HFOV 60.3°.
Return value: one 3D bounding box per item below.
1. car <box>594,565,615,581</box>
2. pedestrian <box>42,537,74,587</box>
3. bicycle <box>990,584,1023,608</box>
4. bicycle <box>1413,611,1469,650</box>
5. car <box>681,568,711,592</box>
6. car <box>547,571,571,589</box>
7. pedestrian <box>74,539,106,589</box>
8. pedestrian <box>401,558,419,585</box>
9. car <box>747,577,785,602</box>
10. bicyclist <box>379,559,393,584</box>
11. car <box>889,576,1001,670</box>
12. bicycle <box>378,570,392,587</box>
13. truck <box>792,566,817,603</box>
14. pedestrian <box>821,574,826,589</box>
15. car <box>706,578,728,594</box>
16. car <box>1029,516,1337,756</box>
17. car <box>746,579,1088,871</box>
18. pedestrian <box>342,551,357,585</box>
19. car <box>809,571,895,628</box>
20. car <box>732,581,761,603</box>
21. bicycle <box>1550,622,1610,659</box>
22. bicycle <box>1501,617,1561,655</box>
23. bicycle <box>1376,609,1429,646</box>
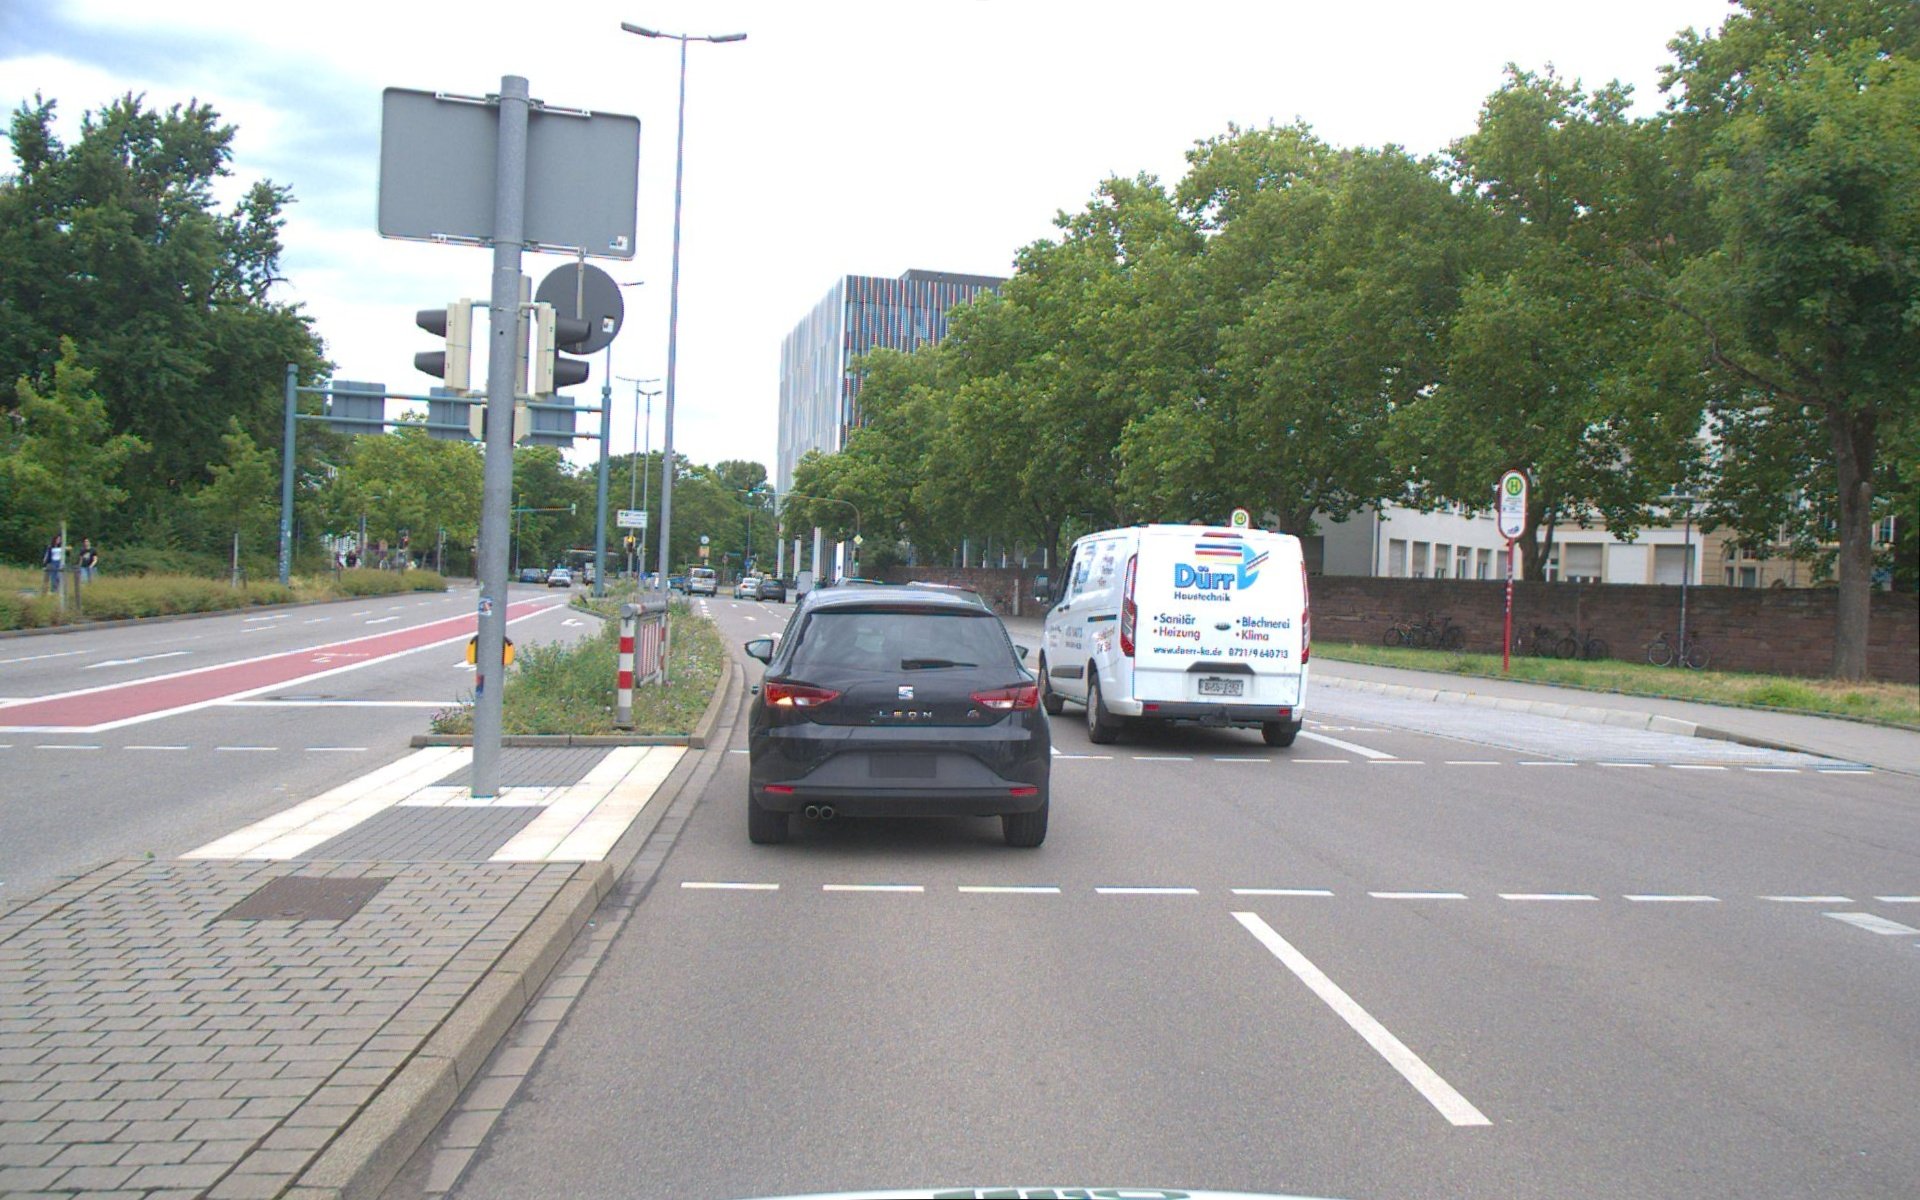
[{"bbox_3d":[-33.639,-2.510,156.258,1.734,1.486,4.773,0,1,-15],"label":"car"},{"bbox_3d":[-25.576,-1.074,46.892,0.634,1.386,0.678,1,1,-15],"label":"pedestrian"},{"bbox_3d":[2.234,-0.198,80.206,0.837,1.147,1.909,0,2,-24],"label":"bicycle"},{"bbox_3d":[15.422,0.971,53.071,0.589,1.149,1.692,0,2,-35],"label":"bicycle"},{"bbox_3d":[-18.311,-1.405,114.550,1.667,1.530,3.994,1,2,-15],"label":"car"},{"bbox_3d":[-32.361,-1.625,133.387,1.578,1.405,3.800,1,2,-10],"label":"car"},{"bbox_3d":[-24.634,-1.022,46.848,0.633,1.381,0.709,1,1,-12],"label":"pedestrian"},{"bbox_3d":[-37.659,-1.942,113.234,0.816,1.770,0.838,-3,-4,41],"label":"pedestrian"},{"bbox_3d":[-11.973,-0.659,101.901,1.866,1.377,3.870,1,2,-13],"label":"car"},{"bbox_3d":[-39.730,-1.967,114.444,0.658,1.664,0.953,4,-1,-27],"label":"bicyclist"},{"bbox_3d":[-0.373,0.420,34.034,1.911,1.652,3.745,4,1,-5],"label":"car"},{"bbox_3d":[-39.796,-1.484,114.516,0.658,1.080,1.605,4,0,-27],"label":"bicycle"},{"bbox_3d":[-10.043,-1.025,106.775,1.293,2.282,3.394,1,1,-10],"label":"truck"},{"bbox_3d":[-12.477,-1.704,151.201,0.462,1.385,0.445,1,1,0],"label":"pedestrian"},{"bbox_3d":[-19.735,-1.175,134.270,1.479,1.214,3.153,1,2,-13],"label":"car"},{"bbox_3d":[2.040,0.309,16.491,1.929,2.007,4.337,2,0,-7],"label":"car"},{"bbox_3d":[-0.403,0.628,10.381,1.719,1.457,3.764,2,0,-6],"label":"car"},{"bbox_3d":[-31.963,-1.658,86.606,0.609,1.759,0.816,1,1,-10],"label":"pedestrian"},{"bbox_3d":[-3.529,-0.046,53.181,1.884,1.693,4.096,1,2,-17],"label":"car"},{"bbox_3d":[-14.729,-0.579,114.201,1.588,1.377,3.987,1,2,-13],"label":"car"},{"bbox_3d":[18.327,1.181,48.896,0.545,1.009,1.615,0,2,-38],"label":"bicycle"},{"bbox_3d":[17.364,1.083,50.303,0.589,1.077,1.692,0,2,-35],"label":"bicycle"},{"bbox_3d":[14.607,0.900,54.598,0.589,1.156,1.692,0,2,-35],"label":"bicycle"}]
